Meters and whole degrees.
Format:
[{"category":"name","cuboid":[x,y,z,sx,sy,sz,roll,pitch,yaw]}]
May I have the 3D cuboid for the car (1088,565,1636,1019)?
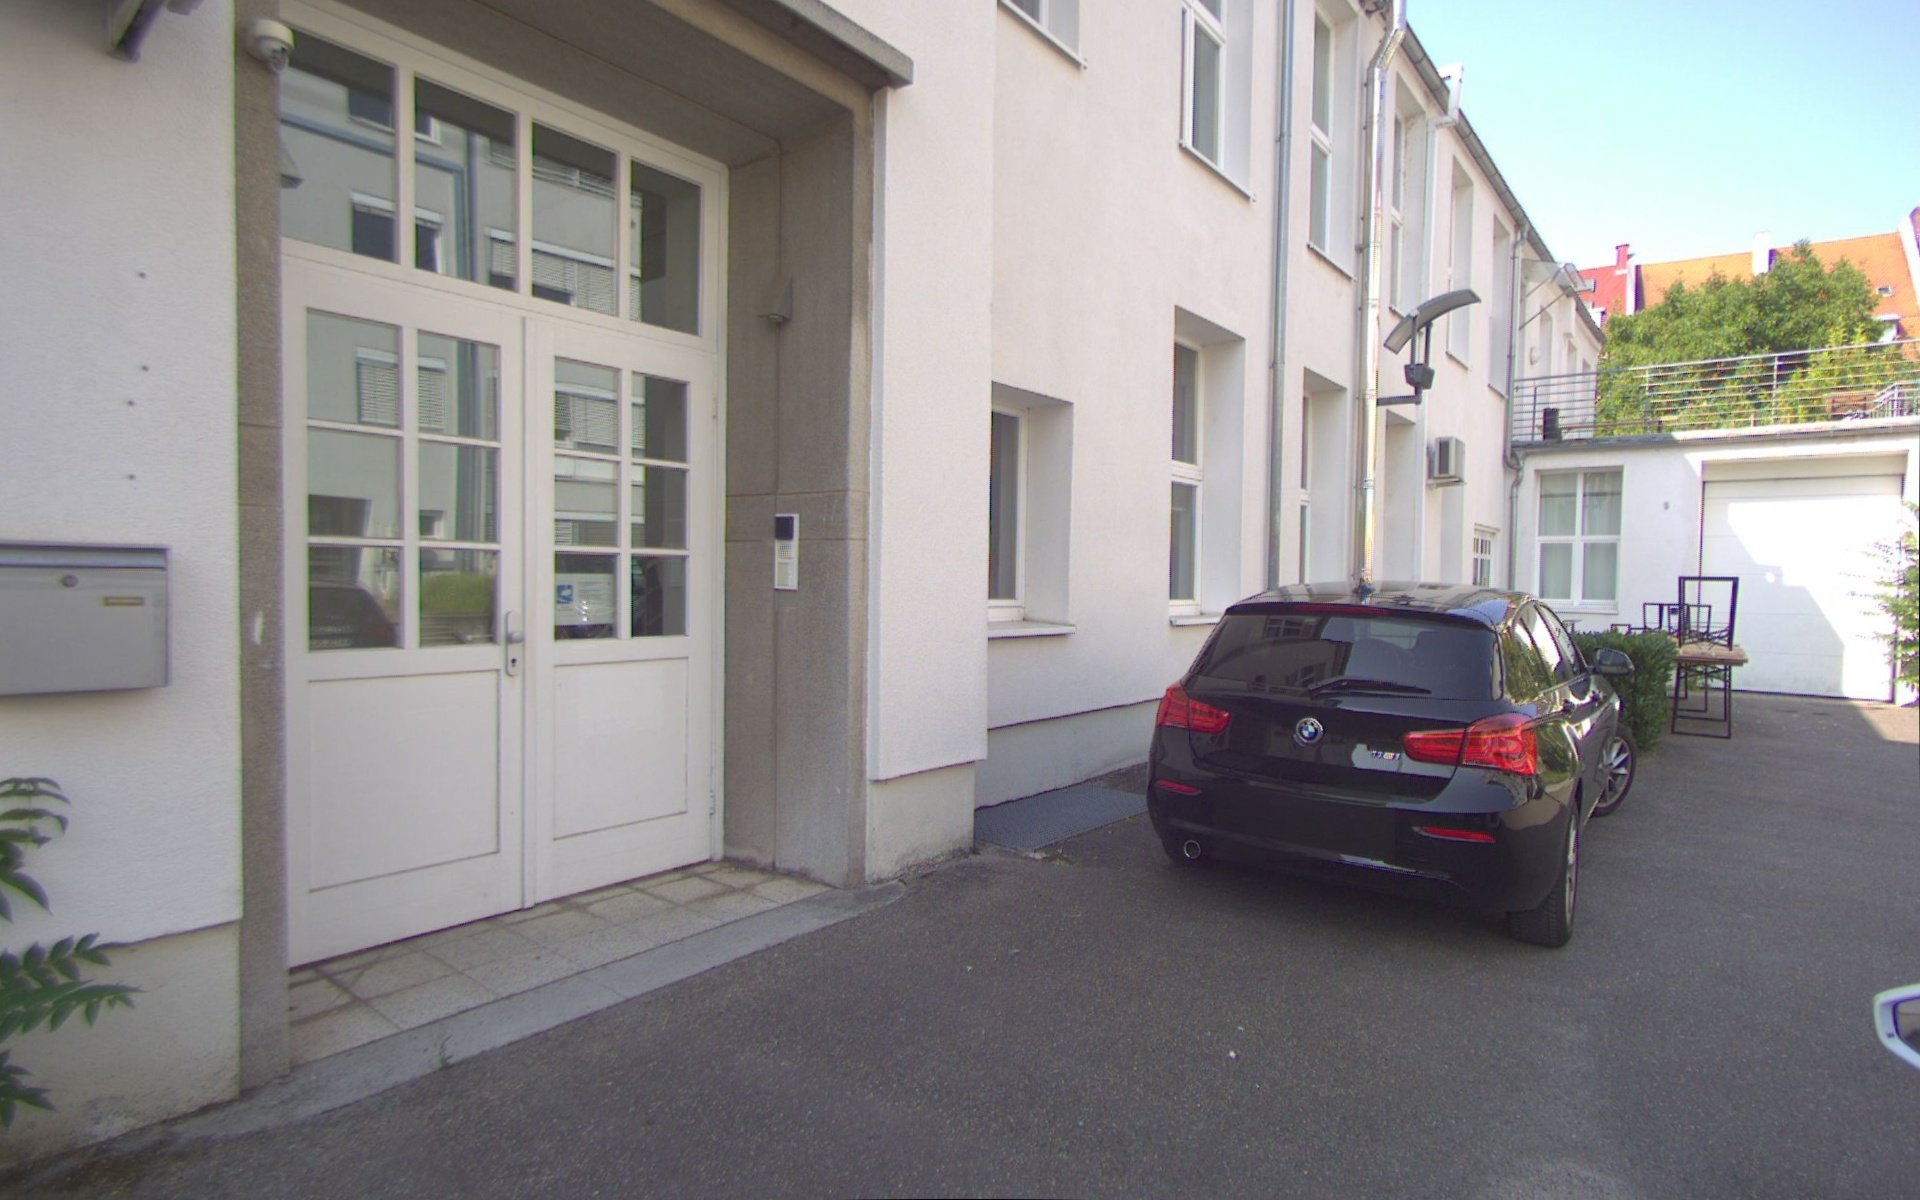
[{"category":"car","cuboid":[2.484,0.583,5.442,1.769,1.448,4.121,3,2,36]}]
